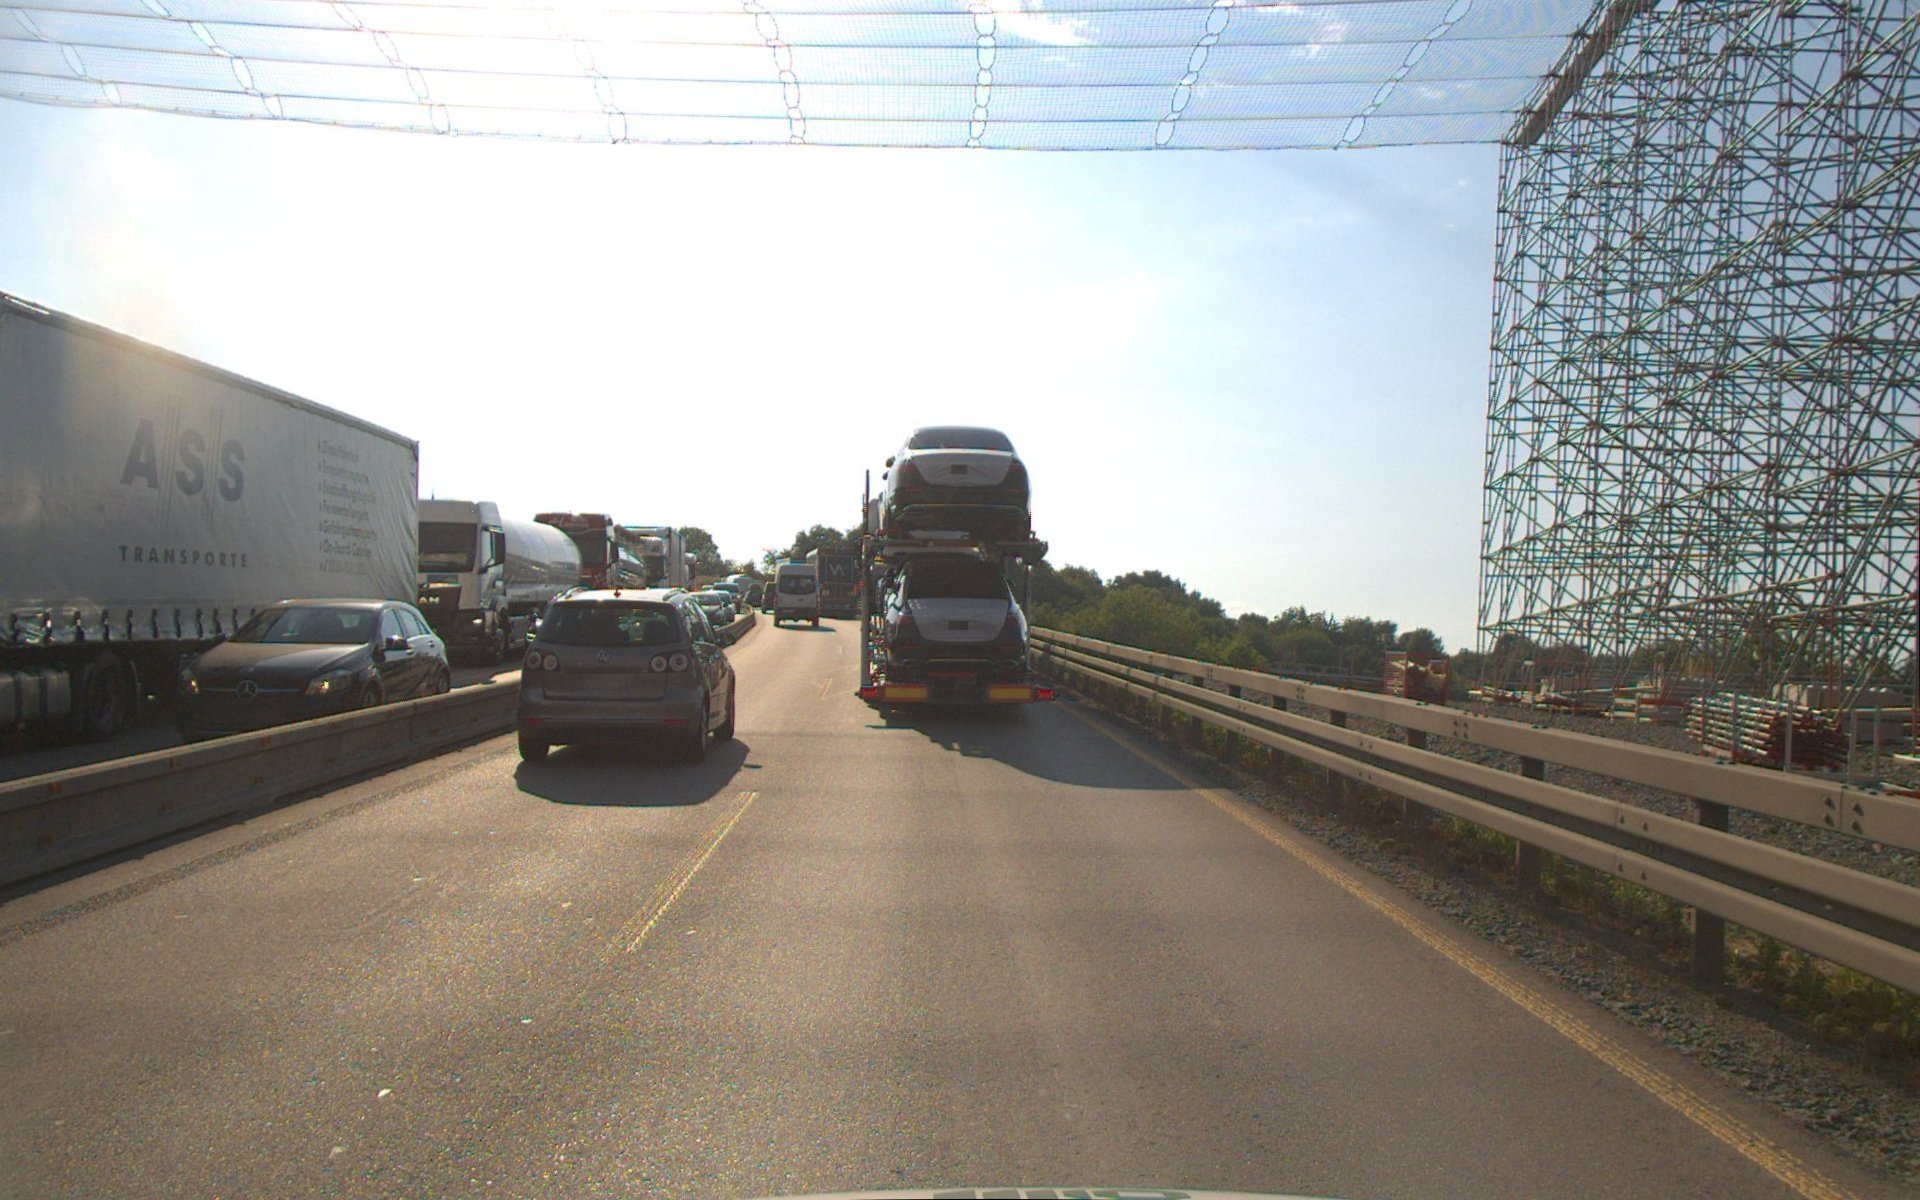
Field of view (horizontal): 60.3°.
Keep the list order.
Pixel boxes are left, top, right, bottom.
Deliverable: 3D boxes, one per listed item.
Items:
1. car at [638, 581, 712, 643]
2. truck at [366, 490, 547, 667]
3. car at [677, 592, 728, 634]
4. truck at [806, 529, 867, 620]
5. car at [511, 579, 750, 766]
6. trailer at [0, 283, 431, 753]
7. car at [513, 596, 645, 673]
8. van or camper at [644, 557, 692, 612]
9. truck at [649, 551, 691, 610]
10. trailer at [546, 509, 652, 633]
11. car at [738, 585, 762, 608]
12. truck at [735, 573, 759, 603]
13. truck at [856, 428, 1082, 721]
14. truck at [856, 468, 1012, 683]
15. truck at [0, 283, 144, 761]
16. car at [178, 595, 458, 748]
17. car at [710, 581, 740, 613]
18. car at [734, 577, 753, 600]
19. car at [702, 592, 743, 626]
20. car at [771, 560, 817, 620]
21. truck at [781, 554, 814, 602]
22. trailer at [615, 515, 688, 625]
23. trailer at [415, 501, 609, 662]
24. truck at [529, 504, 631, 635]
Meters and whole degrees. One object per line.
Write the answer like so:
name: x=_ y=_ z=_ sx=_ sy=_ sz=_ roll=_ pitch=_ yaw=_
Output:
car: x=-7.850 y=0.326 z=45.816 sx=1.717 sy=1.614 sz=3.938 roll=1 pitch=0 yaw=-6
truck: x=-10.512 y=-0.413 z=35.050 sx=2.366 sy=3.429 sz=5.613 roll=1 pitch=0 yaw=-4
car: x=-9.293 y=0.455 z=59.929 sx=1.596 sy=1.451 sz=4.381 roll=1 pitch=0 yaw=-6
truck: x=-7.779 y=-1.526 z=102.826 sx=3.224 sy=5.328 sz=9.919 roll=1 pitch=0 yaw=-7
car: x=-3.147 y=0.637 z=16.525 sx=1.657 sy=1.624 sz=3.999 roll=1 pitch=0 yaw=-2
trailer: x=-9.826 y=-0.716 z=21.126 sx=2.379 sy=4.032 sz=14.088 roll=1 pitch=0 yaw=-3
car: x=-7.590 y=0.650 z=33.344 sx=1.757 sy=1.422 sz=4.242 roll=1 pitch=0 yaw=-2
van or camper: x=-16.441 y=-0.848 z=93.435 sx=2.363 sy=2.942 sz=7.604 roll=1 pitch=0 yaw=-8
truck: x=-19.489 y=-1.248 z=111.529 sx=2.553 sy=3.820 sz=6.504 roll=1 pitch=0 yaw=-9
trailer: x=-12.443 y=-0.905 z=57.895 sx=2.262 sy=3.856 sz=12.036 roll=1 pitch=0 yaw=-6
car: x=-16.814 y=-0.303 z=132.702 sx=1.791 sy=1.803 sz=3.995 roll=1 pitch=0 yaw=-6
truck: x=-23.983 y=-1.340 z=186.017 sx=2.542 sy=3.226 sz=6.665 roll=1 pitch=0 yaw=-8
truck: x=-0.179 y=-0.304 z=25.621 sx=2.743 sy=3.558 sz=10.598 roll=1 pitch=0 yaw=-3
truck: x=-0.749 y=-0.439 z=35.050 sx=2.781 sy=3.858 sz=9.980 roll=1 pitch=0 yaw=-3
truck: x=-9.488 y=-0.683 z=14.147 sx=2.424 sy=4.116 sz=5.613 roll=1 pitch=0 yaw=-3
car: x=-6.545 y=0.666 z=17.298 sx=1.575 sy=1.400 sz=3.898 roll=1 pitch=0 yaw=-3
car: x=-14.986 y=-0.206 z=105.604 sx=1.782 sy=1.959 sz=4.828 roll=1 pitch=0 yaw=-7
car: x=-19.612 y=-1.052 z=149.672 sx=1.600 sy=2.049 sz=3.991 roll=1 pitch=0 yaw=-10
car: x=-10.681 y=0.391 z=74.536 sx=1.596 sy=1.451 sz=4.652 roll=1 pitch=0 yaw=-6
car: x=-7.273 y=-0.417 z=72.601 sx=1.883 sy=2.536 sz=5.402 roll=1 pitch=0 yaw=-6
truck: x=-13.075 y=-1.680 z=133.548 sx=2.481 sy=3.712 sz=8.895 roll=1 pitch=0 yaw=-5
trailer: x=-13.378 y=-1.217 z=72.365 sx=2.429 sy=4.404 sz=10.494 roll=1 pitch=0 yaw=-7
trailer: x=-10.914 y=-0.394 z=41.591 sx=2.261 sy=3.420 sz=12.044 roll=1 pitch=0 yaw=-3
truck: x=-11.874 y=-0.907 z=52.073 sx=2.385 sy=3.851 sz=5.610 roll=1 pitch=0 yaw=-6
